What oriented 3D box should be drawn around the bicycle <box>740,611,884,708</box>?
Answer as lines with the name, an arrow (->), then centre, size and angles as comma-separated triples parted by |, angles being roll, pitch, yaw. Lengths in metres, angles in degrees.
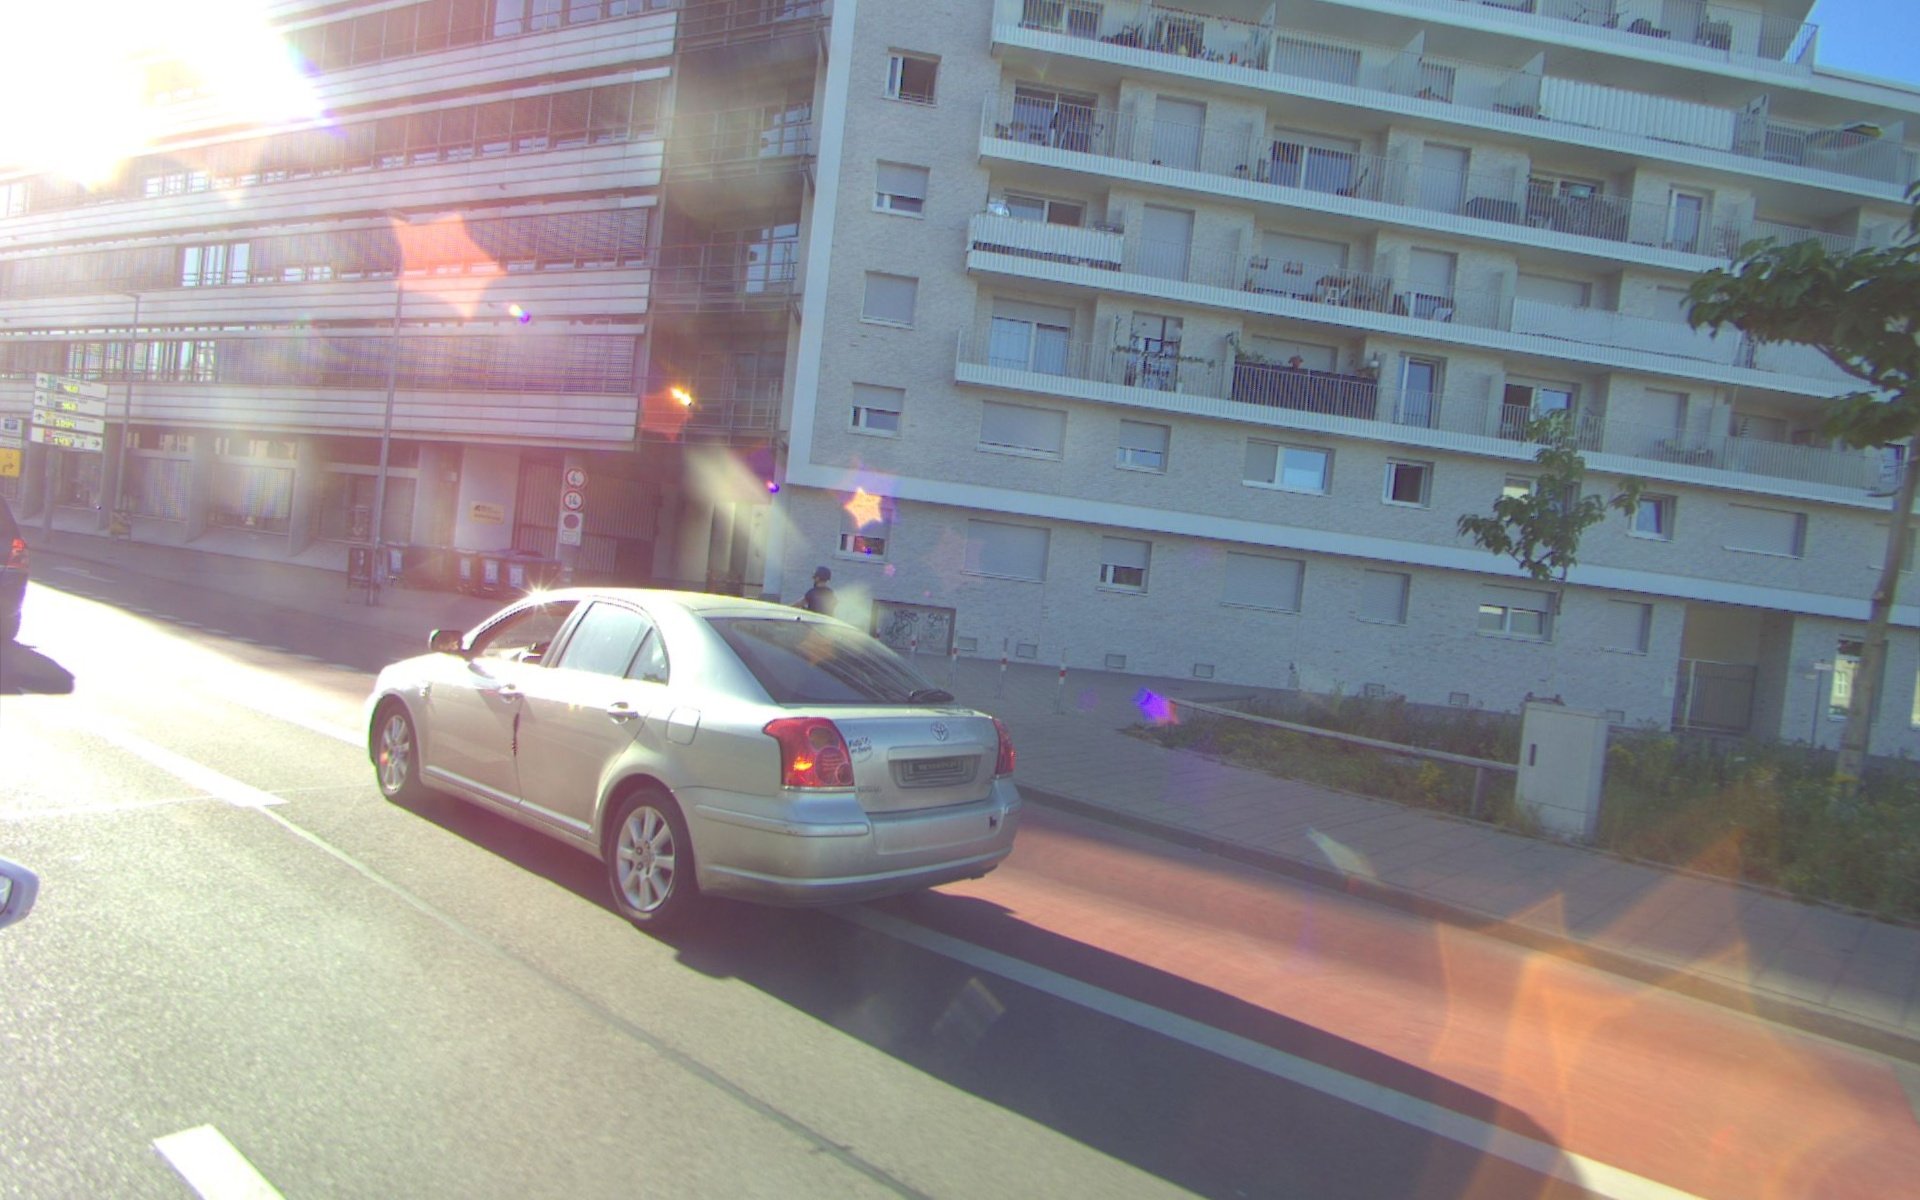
bicycle -> -2.045, 0.783, 13.678 | 2.173, 1.045, 0.498 | 6, 1, 38

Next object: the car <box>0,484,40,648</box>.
car -> -11.849, -0.583, 11.039 | 4.394, 1.649, 1.688 | 6, 0, 36

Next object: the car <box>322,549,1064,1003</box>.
car -> -1.798, 0.651, 5.797 | 4.422, 1.449, 1.749 | 6, 0, 39

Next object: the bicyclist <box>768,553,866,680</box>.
bicyclist -> -1.936, 0.216, 13.590 | 1.027, 1.586, 0.624 | 7, 1, 37
